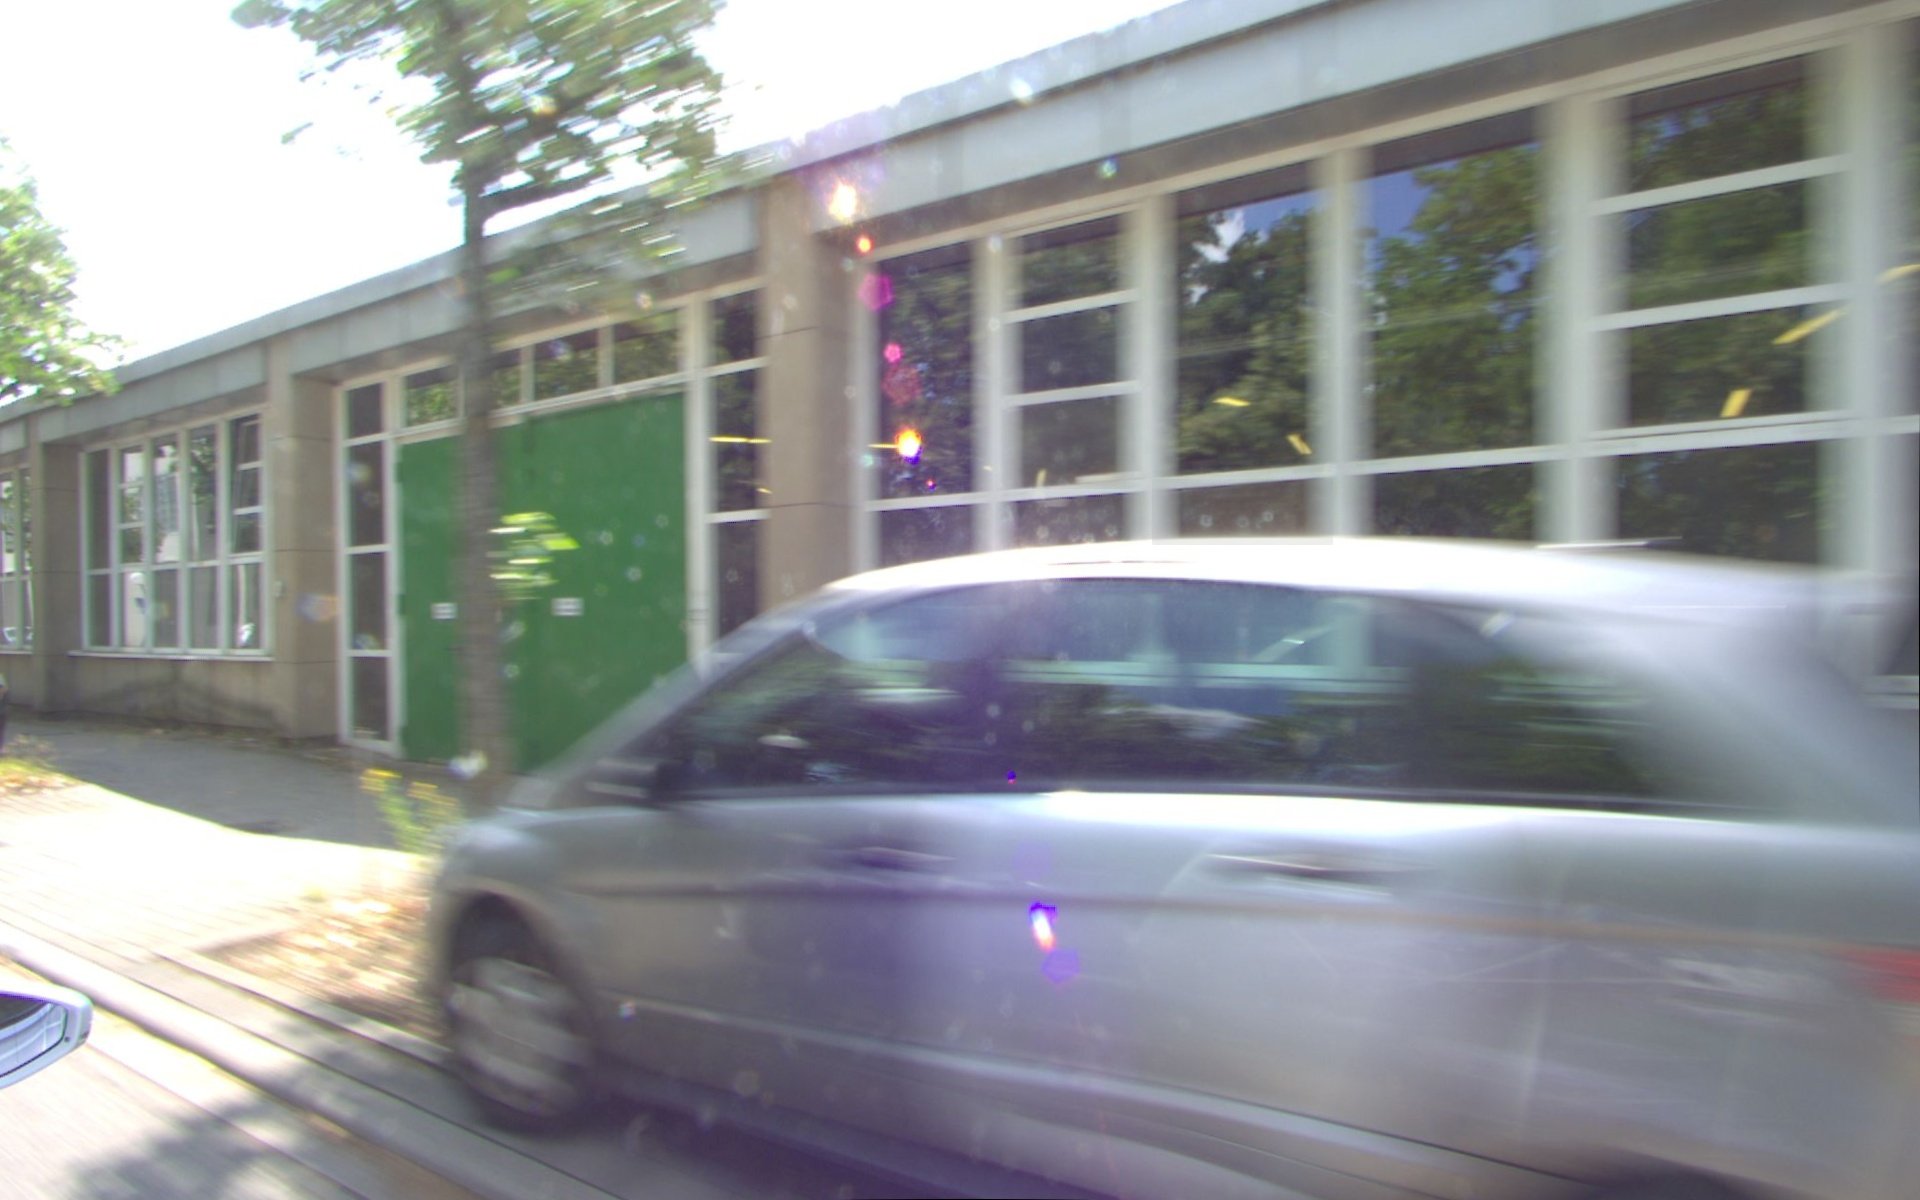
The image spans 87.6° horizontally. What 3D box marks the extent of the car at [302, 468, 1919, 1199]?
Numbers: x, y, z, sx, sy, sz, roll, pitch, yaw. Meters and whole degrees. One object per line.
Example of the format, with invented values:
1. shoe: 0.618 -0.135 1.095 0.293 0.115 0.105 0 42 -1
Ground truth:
1. car: 0.131 0.660 2.845 4.079 1.595 1.701 -1 0 30

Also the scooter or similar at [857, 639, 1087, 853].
1. scooter or similar: 0.055 0.883 6.457 1.472 1.233 0.415 -1 1 32

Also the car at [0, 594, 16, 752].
1. car: -12.576 0.862 11.118 4.516 1.685 1.819 -2 0 30
